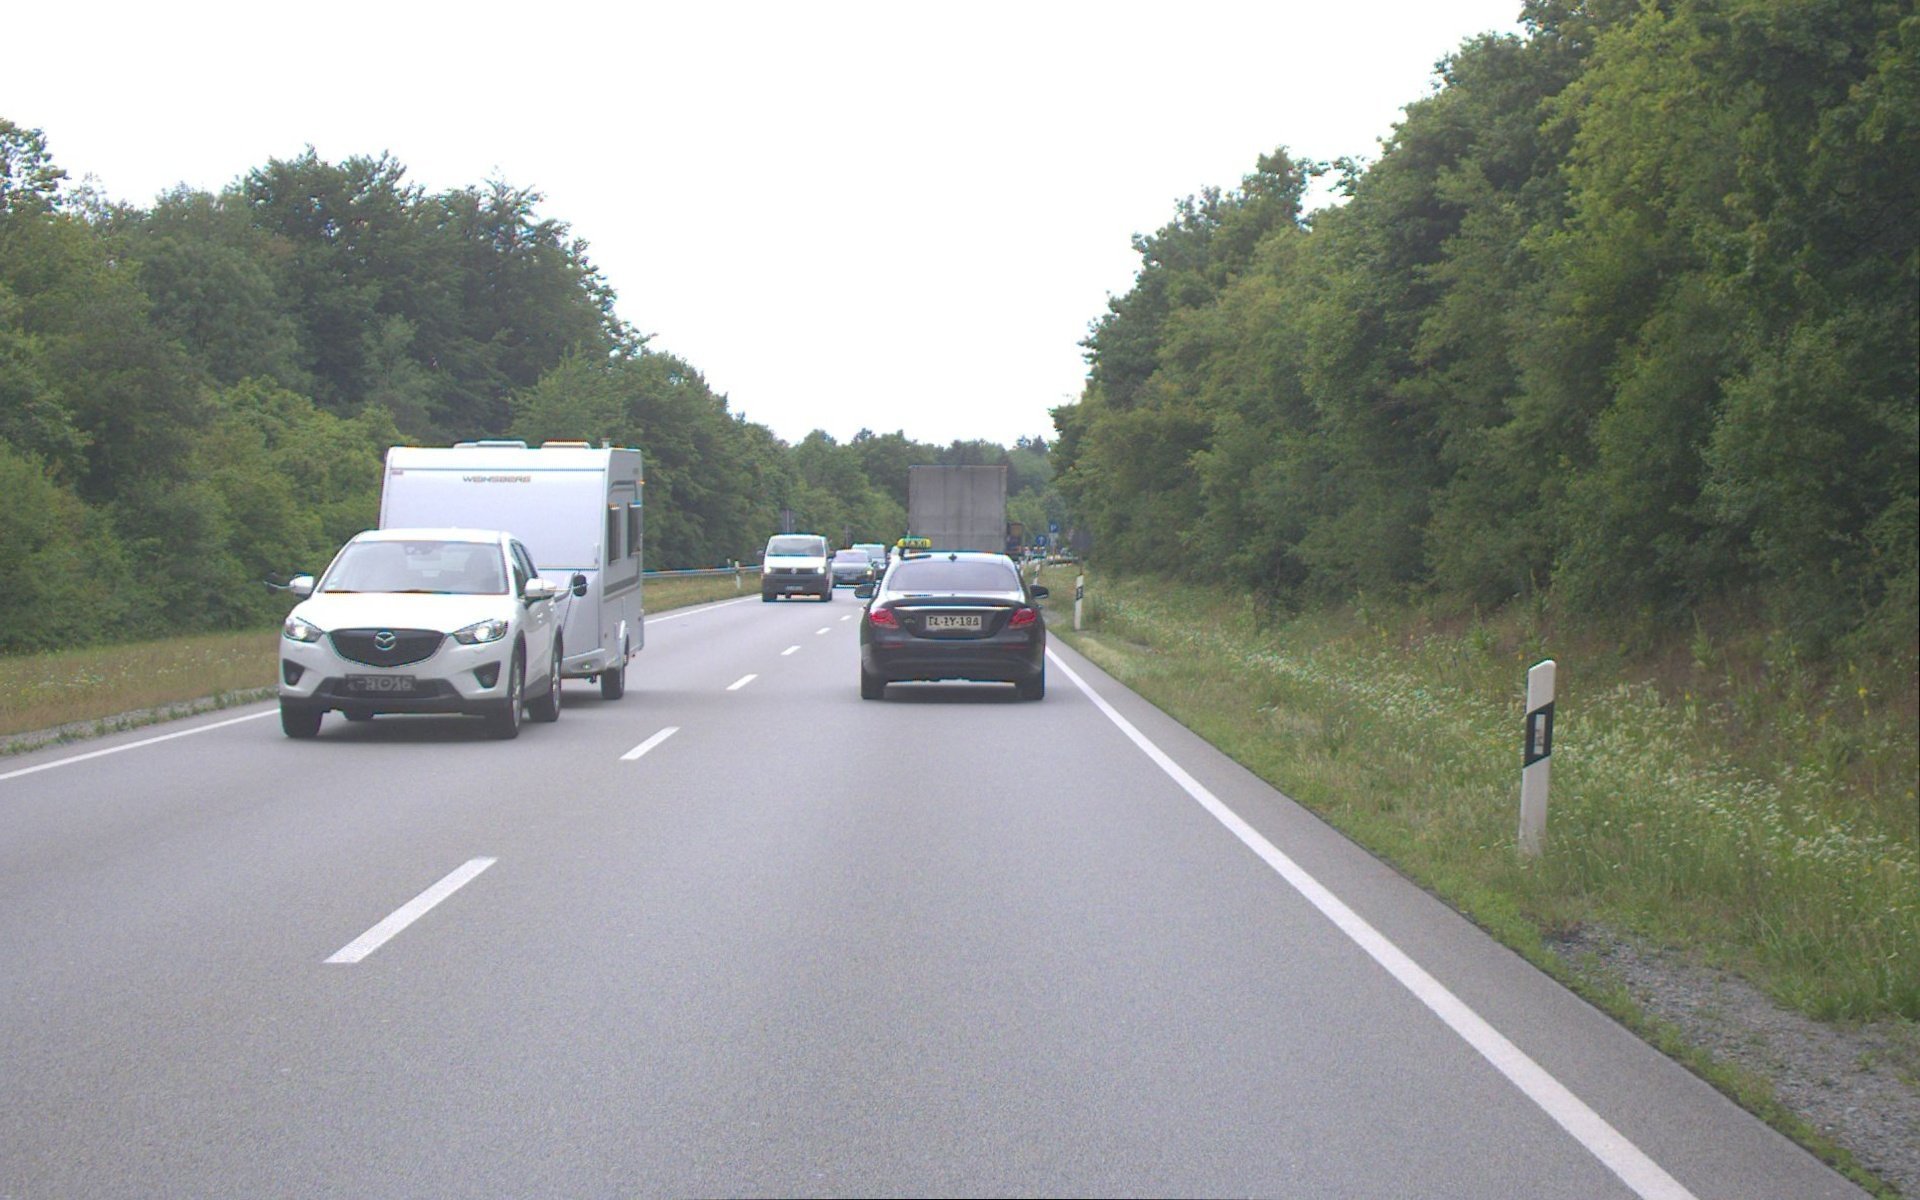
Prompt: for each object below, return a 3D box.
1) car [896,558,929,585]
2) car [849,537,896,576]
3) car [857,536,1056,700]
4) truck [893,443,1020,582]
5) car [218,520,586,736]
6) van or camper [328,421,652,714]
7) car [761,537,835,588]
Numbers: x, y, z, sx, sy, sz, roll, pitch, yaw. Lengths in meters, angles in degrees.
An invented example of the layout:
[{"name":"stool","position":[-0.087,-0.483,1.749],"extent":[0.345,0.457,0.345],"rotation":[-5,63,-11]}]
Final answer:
[{"name":"car","position":[-2.820,-1.698,204.609],"extent":[1.875,1.554,3.755],"rotation":[1,1,0]},{"name":"car","position":[-3.386,-1.706,133.845],"extent":[1.688,1.474,4.456],"rotation":[1,1,0]},{"name":"car","position":[-0.093,0.145,34.934],"extent":[1.791,1.546,4.001],"rotation":[1,1,-3]},{"name":"truck","position":[0.008,-2.360,95.551],"extent":[3.281,3.599,11.400],"rotation":[1,1,1]},{"name":"car","position":[-4.446,0.180,28.165],"extent":[2.279,1.598,4.692],"rotation":[1,1,-1]},{"name":"van or camper","position":[-4.458,-0.328,33.698],"extent":[2.379,2.566,6.280],"rotation":[1,1,-1]},{"name":"car","position":[-4.681,-1.096,99.631],"extent":[1.993,1.415,4.000],"rotation":[1,1,-1]}]
